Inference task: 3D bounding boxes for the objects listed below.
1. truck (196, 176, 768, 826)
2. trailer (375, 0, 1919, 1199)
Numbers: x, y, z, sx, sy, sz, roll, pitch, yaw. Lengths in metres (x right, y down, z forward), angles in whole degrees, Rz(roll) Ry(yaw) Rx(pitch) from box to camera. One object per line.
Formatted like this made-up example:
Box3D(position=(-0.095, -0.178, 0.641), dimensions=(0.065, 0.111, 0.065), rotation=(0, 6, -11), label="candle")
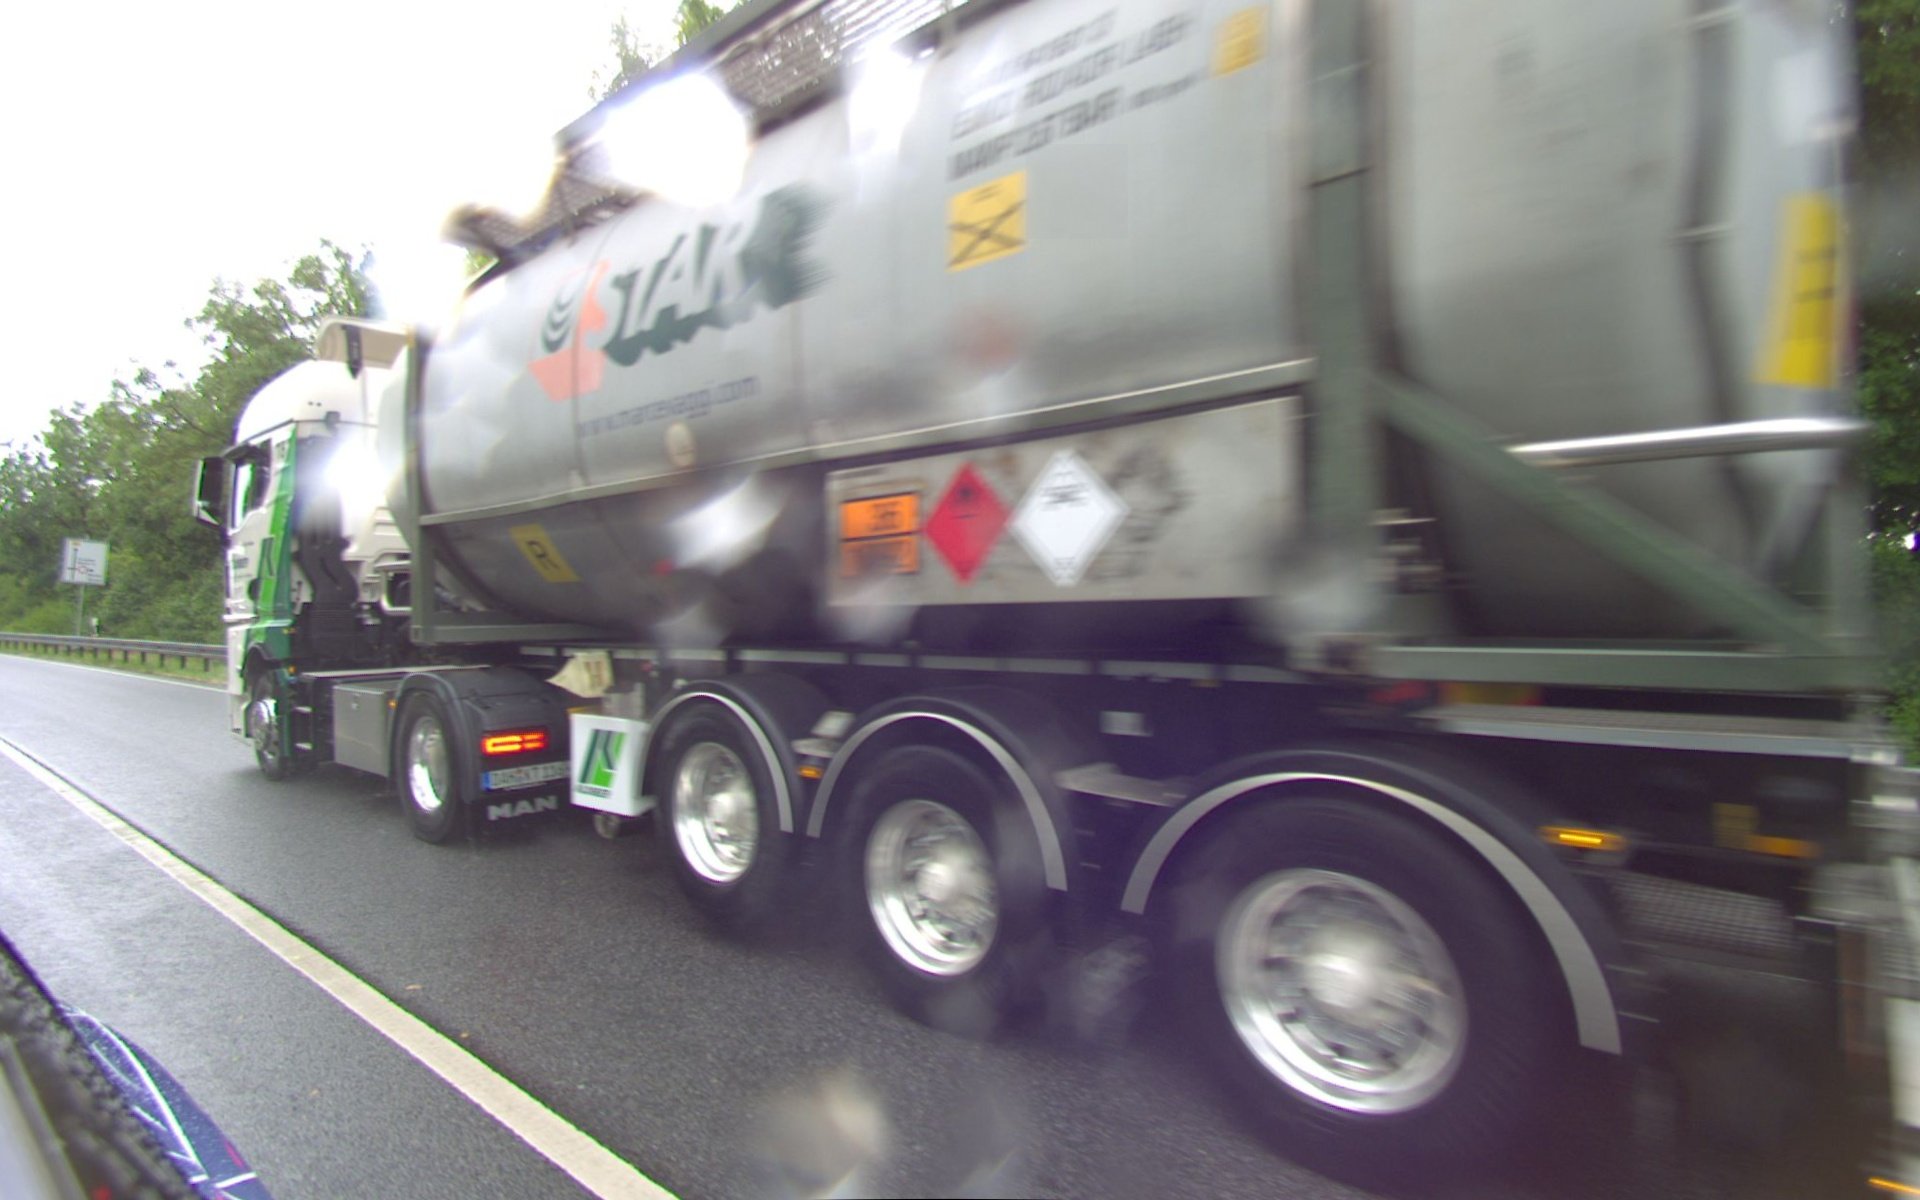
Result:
Box3D(position=(-4.310, -0.590, 8.677), dimensions=(5.241, 3.854, 2.510), rotation=(0, 0, 41), label="truck")
Box3D(position=(-0.034, -0.612, 5.001), dimensions=(7.787, 3.854, 2.510), rotation=(0, 0, 41), label="trailer")
